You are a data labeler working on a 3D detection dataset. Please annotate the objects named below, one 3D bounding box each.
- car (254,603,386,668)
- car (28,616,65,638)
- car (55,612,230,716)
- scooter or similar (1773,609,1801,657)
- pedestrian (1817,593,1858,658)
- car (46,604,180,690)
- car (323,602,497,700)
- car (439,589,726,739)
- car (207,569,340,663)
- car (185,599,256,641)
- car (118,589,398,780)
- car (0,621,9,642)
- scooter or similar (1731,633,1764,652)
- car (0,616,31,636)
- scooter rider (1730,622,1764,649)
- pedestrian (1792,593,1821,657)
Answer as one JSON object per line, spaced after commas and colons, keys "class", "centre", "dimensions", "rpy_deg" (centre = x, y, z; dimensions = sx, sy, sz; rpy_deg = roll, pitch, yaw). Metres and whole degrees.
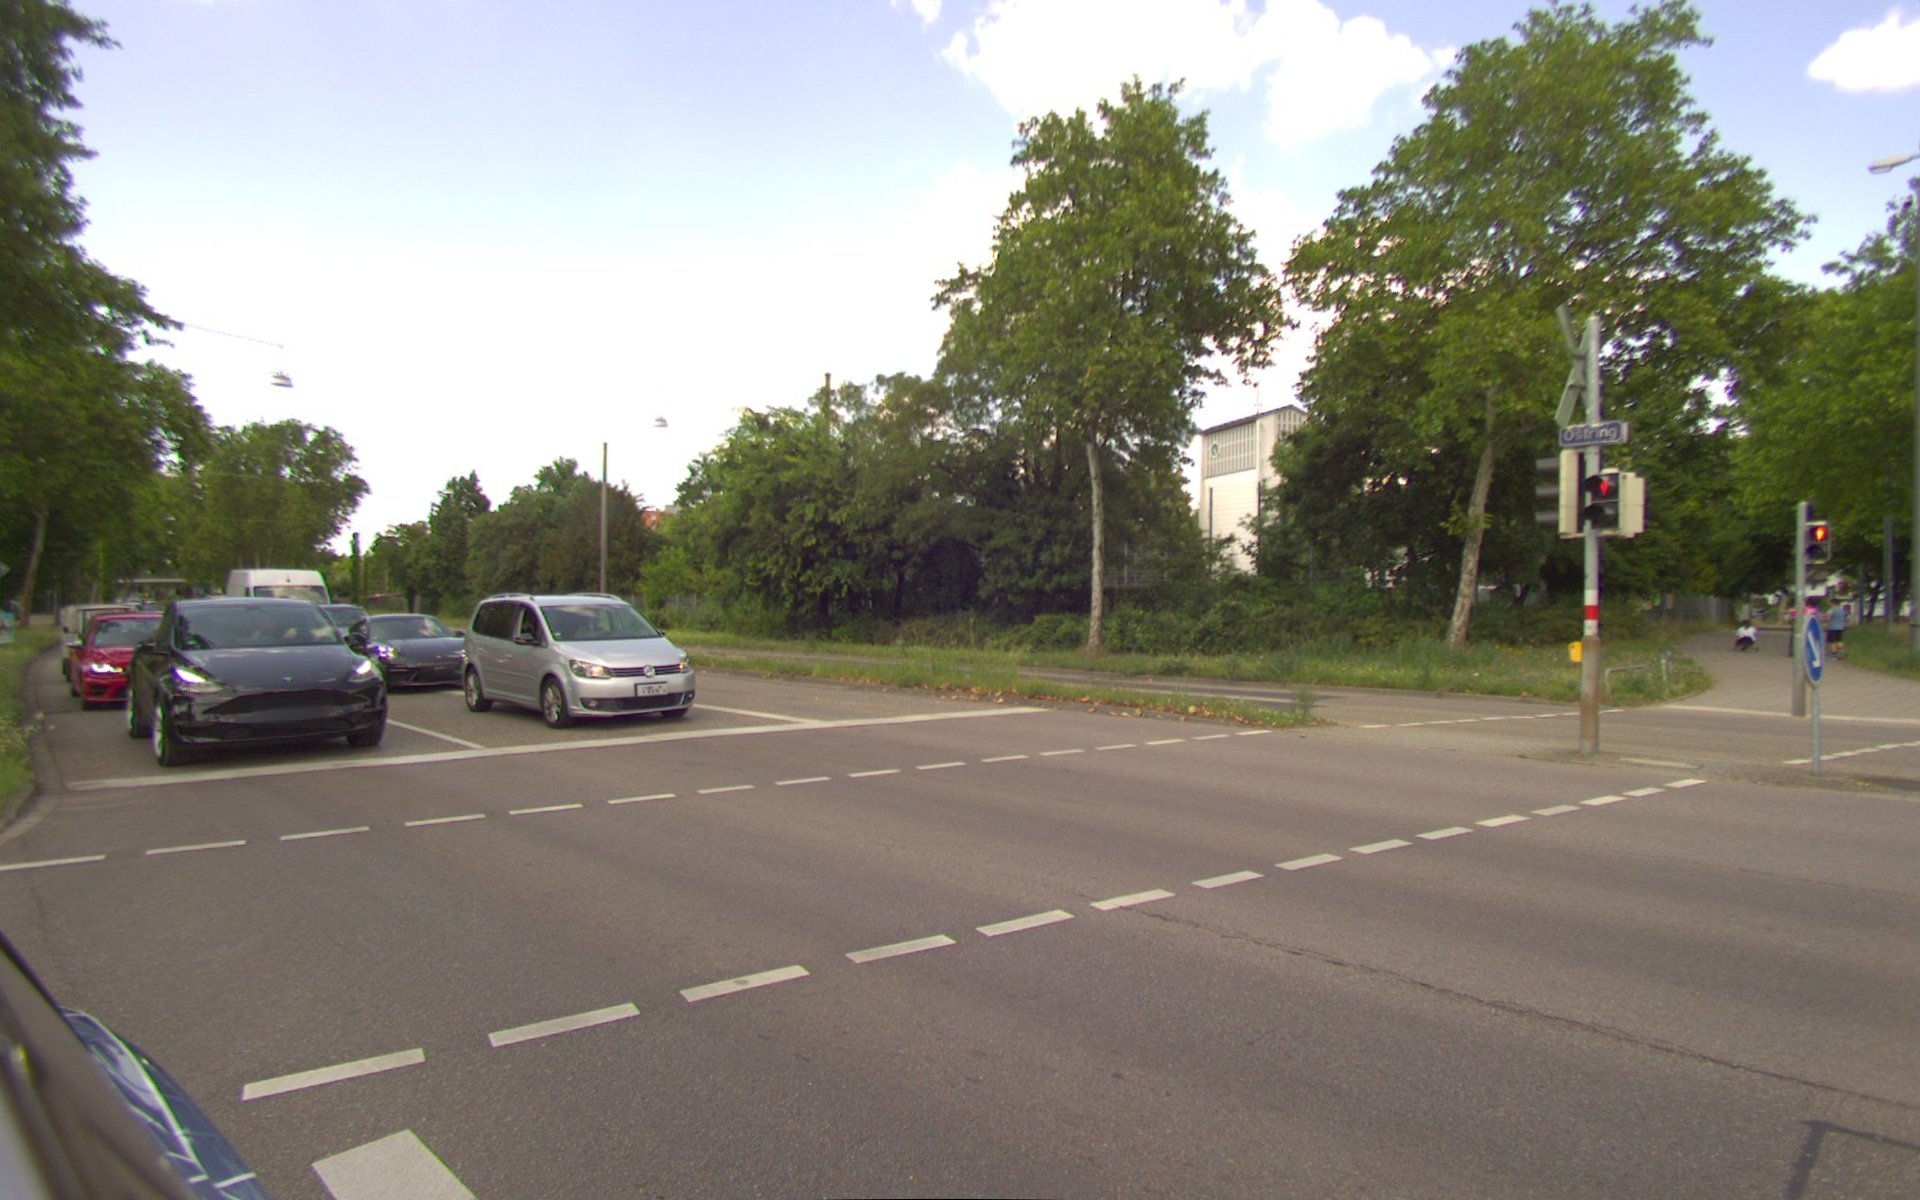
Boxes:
{"class": "car", "centre": [-15.323, 0.779, 24.129], "dimensions": [1.739, 1.385, 4.346], "rpy_deg": [-2, 1, -45]}
{"class": "car", "centre": [-85.256, 2.529, 94.530], "dimensions": [1.746, 1.952, 3.667], "rpy_deg": [0, -2, -29]}
{"class": "car", "centre": [-13.523, 0.939, 16.635], "dimensions": [1.776, 1.401, 4.504], "rpy_deg": [-2, 1, -45]}
{"class": "scooter or similar", "centre": [21.962, 0.875, 26.880], "dimensions": [0.763, 1.241, 0.323], "rpy_deg": [0, -3, -34]}
{"class": "pedestrian", "centre": [22.361, 0.642, 25.796], "dimensions": [0.600, 1.631, 0.634], "rpy_deg": [0, -1, -36]}
{"class": "car", "centre": [-17.880, 0.889, 21.286], "dimensions": [1.776, 1.581, 4.504], "rpy_deg": [-2, 1, -45]}
{"class": "car", "centre": [-9.970, 0.815, 18.207], "dimensions": [1.777, 1.519, 4.004], "rpy_deg": [-2, 1, -43]}
{"class": "car", "centre": [-5.204, 0.715, 13.602], "dimensions": [1.903, 1.664, 4.504], "rpy_deg": [-2, 1, -45]}
{"class": "car", "centre": [-20.661, 0.407, 30.328], "dimensions": [2.195, 2.549, 5.937], "rpy_deg": [-1, 1, -45]}
{"class": "car", "centre": [-30.826, 0.792, 42.151], "dimensions": [1.739, 1.659, 4.346], "rpy_deg": [1, -1, -45]}
{"class": "car", "centre": [-7.959, 0.744, 11.270], "dimensions": [1.903, 1.664, 4.584], "rpy_deg": [-1, 1, -43]}
{"class": "car", "centre": [-75.621, 2.467, 78.529], "dimensions": [1.746, 1.608, 3.667], "rpy_deg": [0, -2, -29]}
{"class": "scooter or similar", "centre": [22.141, 1.186, 28.455], "dimensions": [0.845, 0.515, 0.612], "rpy_deg": [1, -3, -44]}
{"class": "car", "centre": [-79.929, 2.236, 85.189], "dimensions": [1.746, 1.608, 3.667], "rpy_deg": [0, -2, -29]}
{"class": "scooter rider", "centre": [22.142, 0.989, 28.456], "dimensions": [0.846, 0.734, 0.613], "rpy_deg": [1, -3, -44]}
{"class": "pedestrian", "centre": [22.101, 0.650, 26.433], "dimensions": [0.586, 1.631, 0.422], "rpy_deg": [0, -1, -36]}
